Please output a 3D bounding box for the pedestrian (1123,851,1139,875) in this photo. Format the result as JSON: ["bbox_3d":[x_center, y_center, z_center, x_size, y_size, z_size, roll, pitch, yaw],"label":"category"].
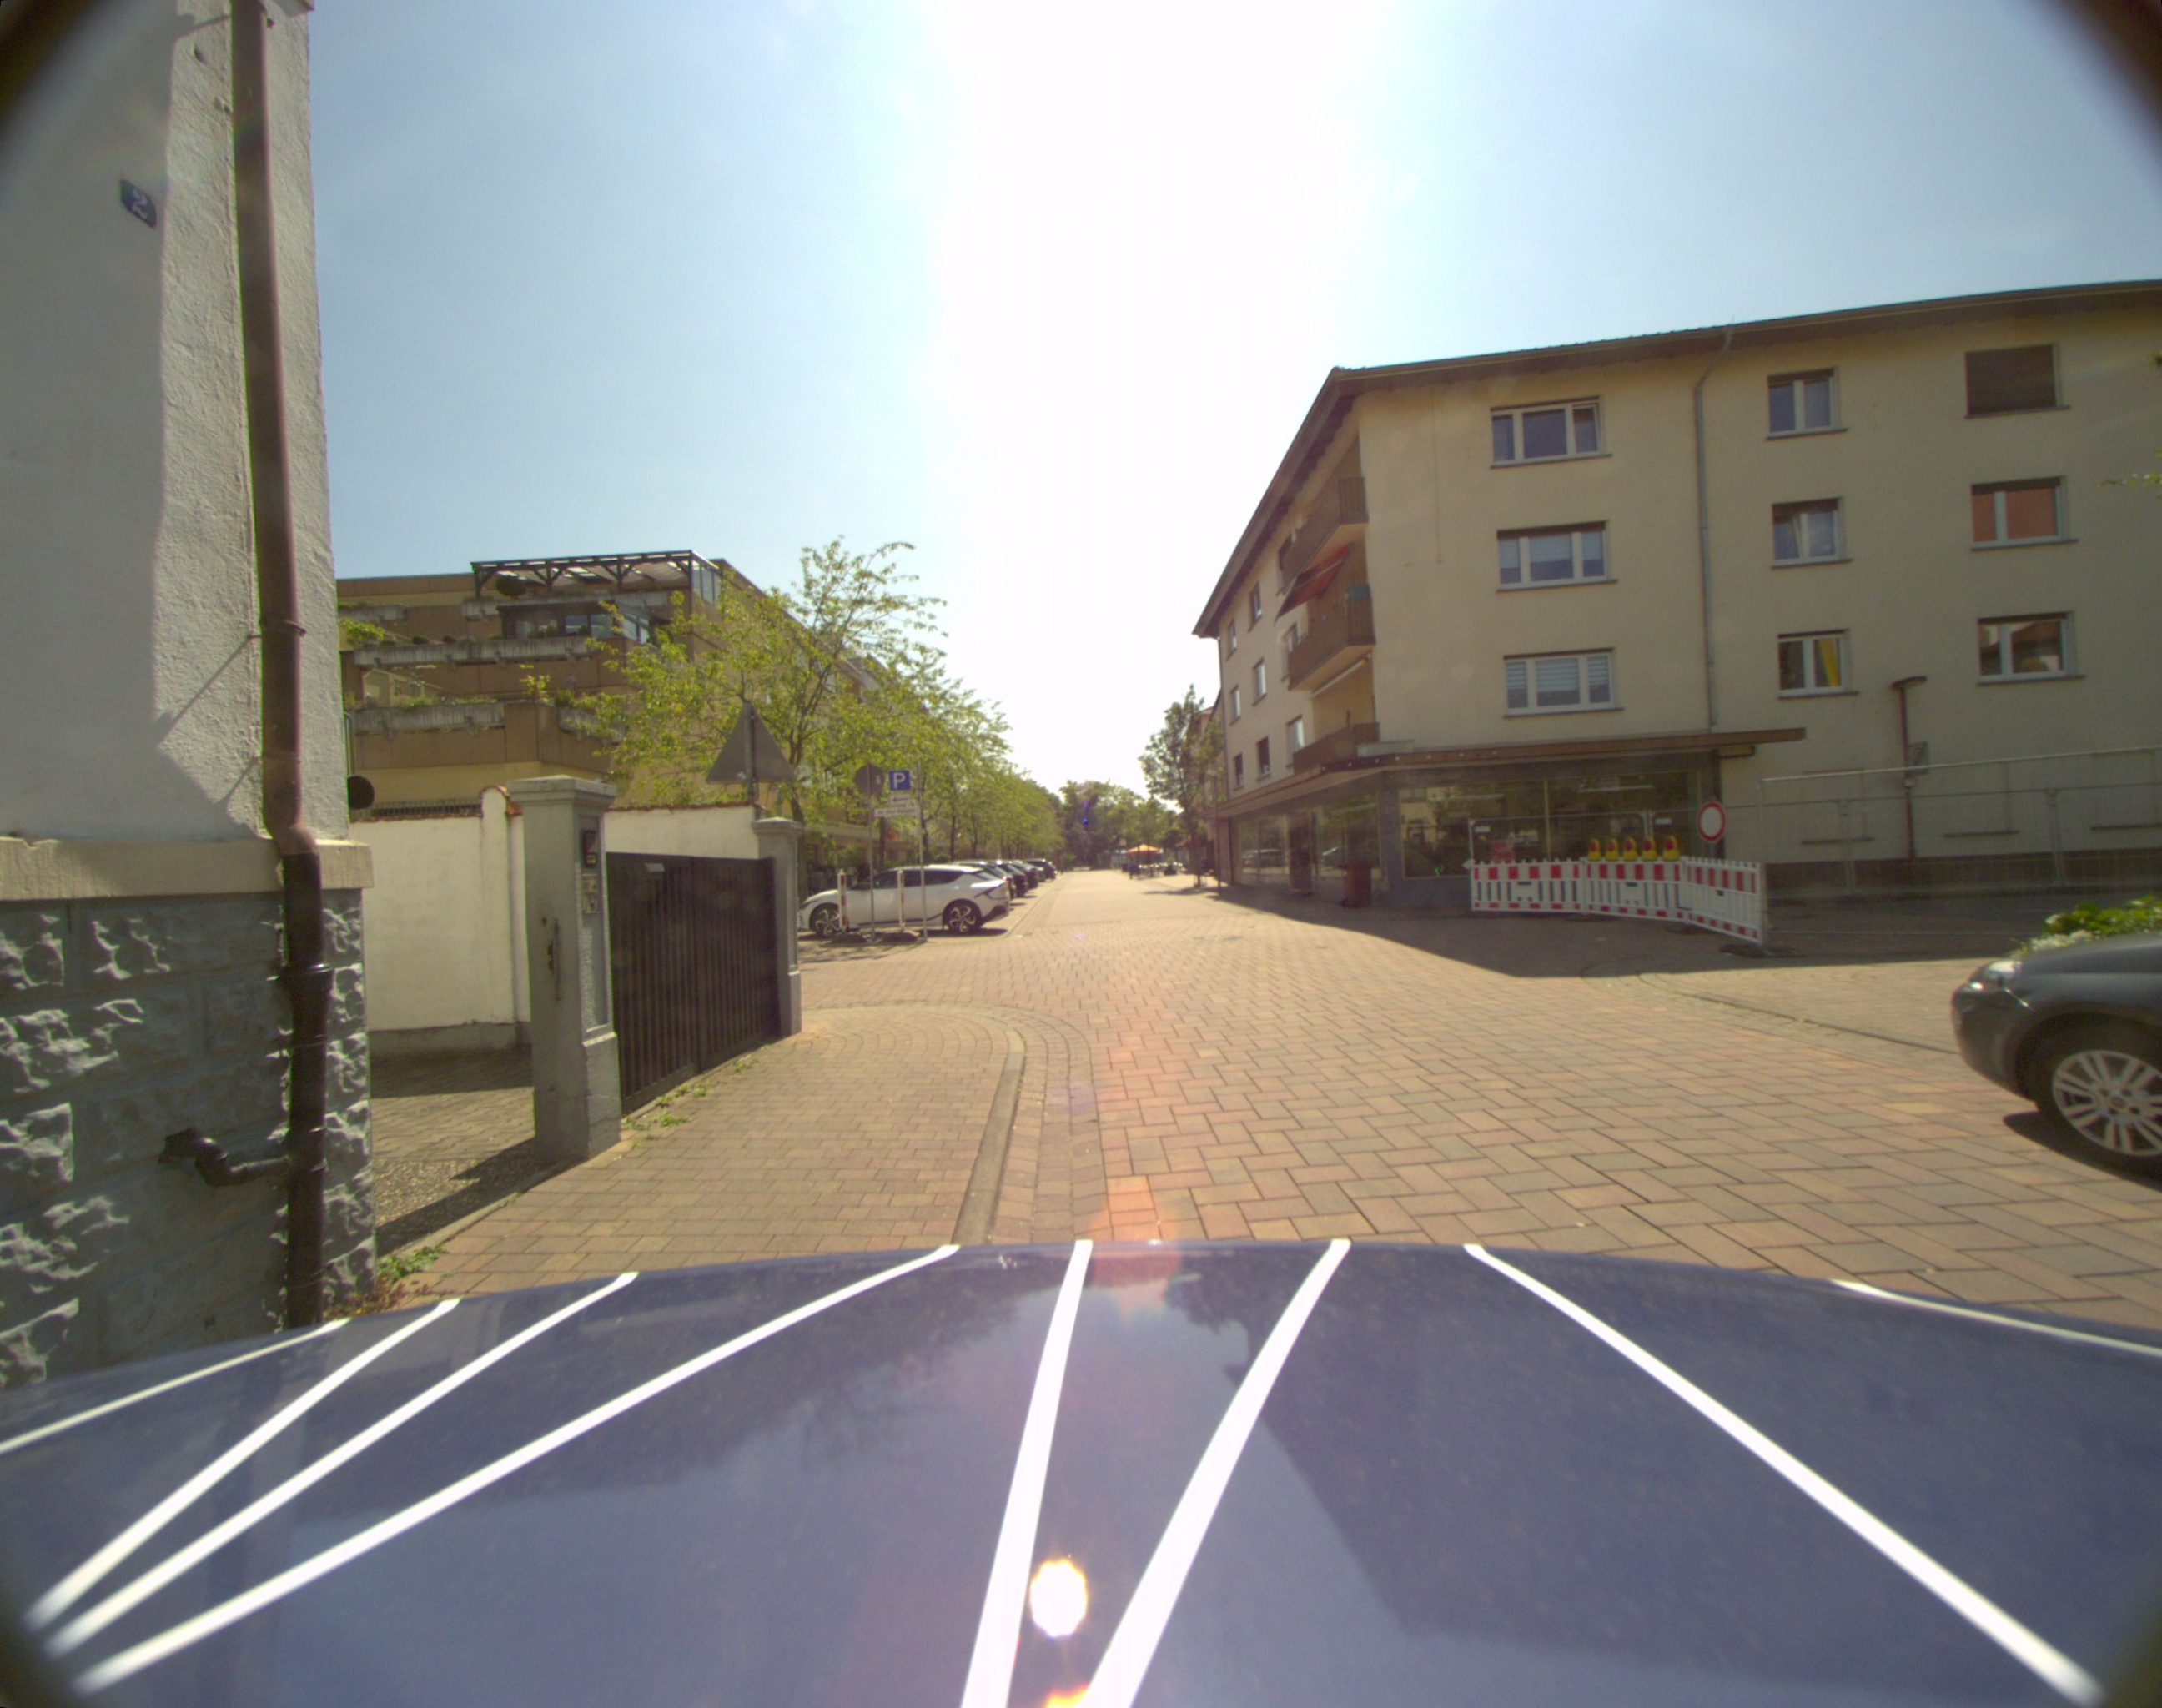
[{"bbox_3d":[3.812,0.654,57.780,0.758,1.770,0.872,-4,0,37],"label":"pedestrian"}]

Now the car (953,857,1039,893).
[{"bbox_3d":[-4.119,1.026,37.448,4.037,1.602,1.681,-1,0,-1],"label":"car"}]

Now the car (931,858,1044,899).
[{"bbox_3d":[-3.941,1.021,32.637,4.519,1.579,1.850,-2,0,2],"label":"car"}]

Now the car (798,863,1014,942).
[{"bbox_3d":[-3.843,1.057,17.234,4.451,1.566,1.789,-2,0,0],"label":"car"}]

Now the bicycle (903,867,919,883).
[{"bbox_3d":[-11.845,1.456,53.061,0.643,1.075,1.866,-4,1,0],"label":"bicycle"}]

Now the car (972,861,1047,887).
[{"bbox_3d":[-4.567,1.269,48.370,4.390,1.455,1.888,-2,0,-18],"label":"car"}]

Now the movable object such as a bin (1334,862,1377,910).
[{"bbox_3d":[6.395,0.735,17.720,0.657,1.064,0.663,-4,0,-7],"label":"movable object such as a bin"}]

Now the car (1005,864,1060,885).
[{"bbox_3d":[-4.160,1.782,65.889,4.586,1.534,1.807,-4,0,0],"label":"car"}]

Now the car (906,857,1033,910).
[{"bbox_3d":[-3.945,1.036,27.475,4.290,1.671,2.000,-2,0,-2],"label":"car"}]

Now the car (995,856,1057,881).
[{"bbox_3d":[-3.900,1.011,54.525,4.254,1.608,1.756,-2,0,-1],"label":"car"}]

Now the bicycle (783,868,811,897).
[{"bbox_3d":[-11.966,1.183,32.054,0.413,1.117,1.774,-4,1,2],"label":"bicycle"}]

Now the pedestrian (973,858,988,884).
[{"bbox_3d":[-6.891,1.143,52.254,0.614,1.721,0.649,-4,1,34],"label":"pedestrian"}]

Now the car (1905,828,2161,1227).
[{"bbox_3d":[5.028,0.628,1.833,1.707,1.488,3.856,-3,0,-4],"label":"car"}]

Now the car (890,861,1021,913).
[{"bbox_3d":[-3.991,1.041,24.698,3.954,1.525,1.824,-1,0,-1],"label":"car"}]
